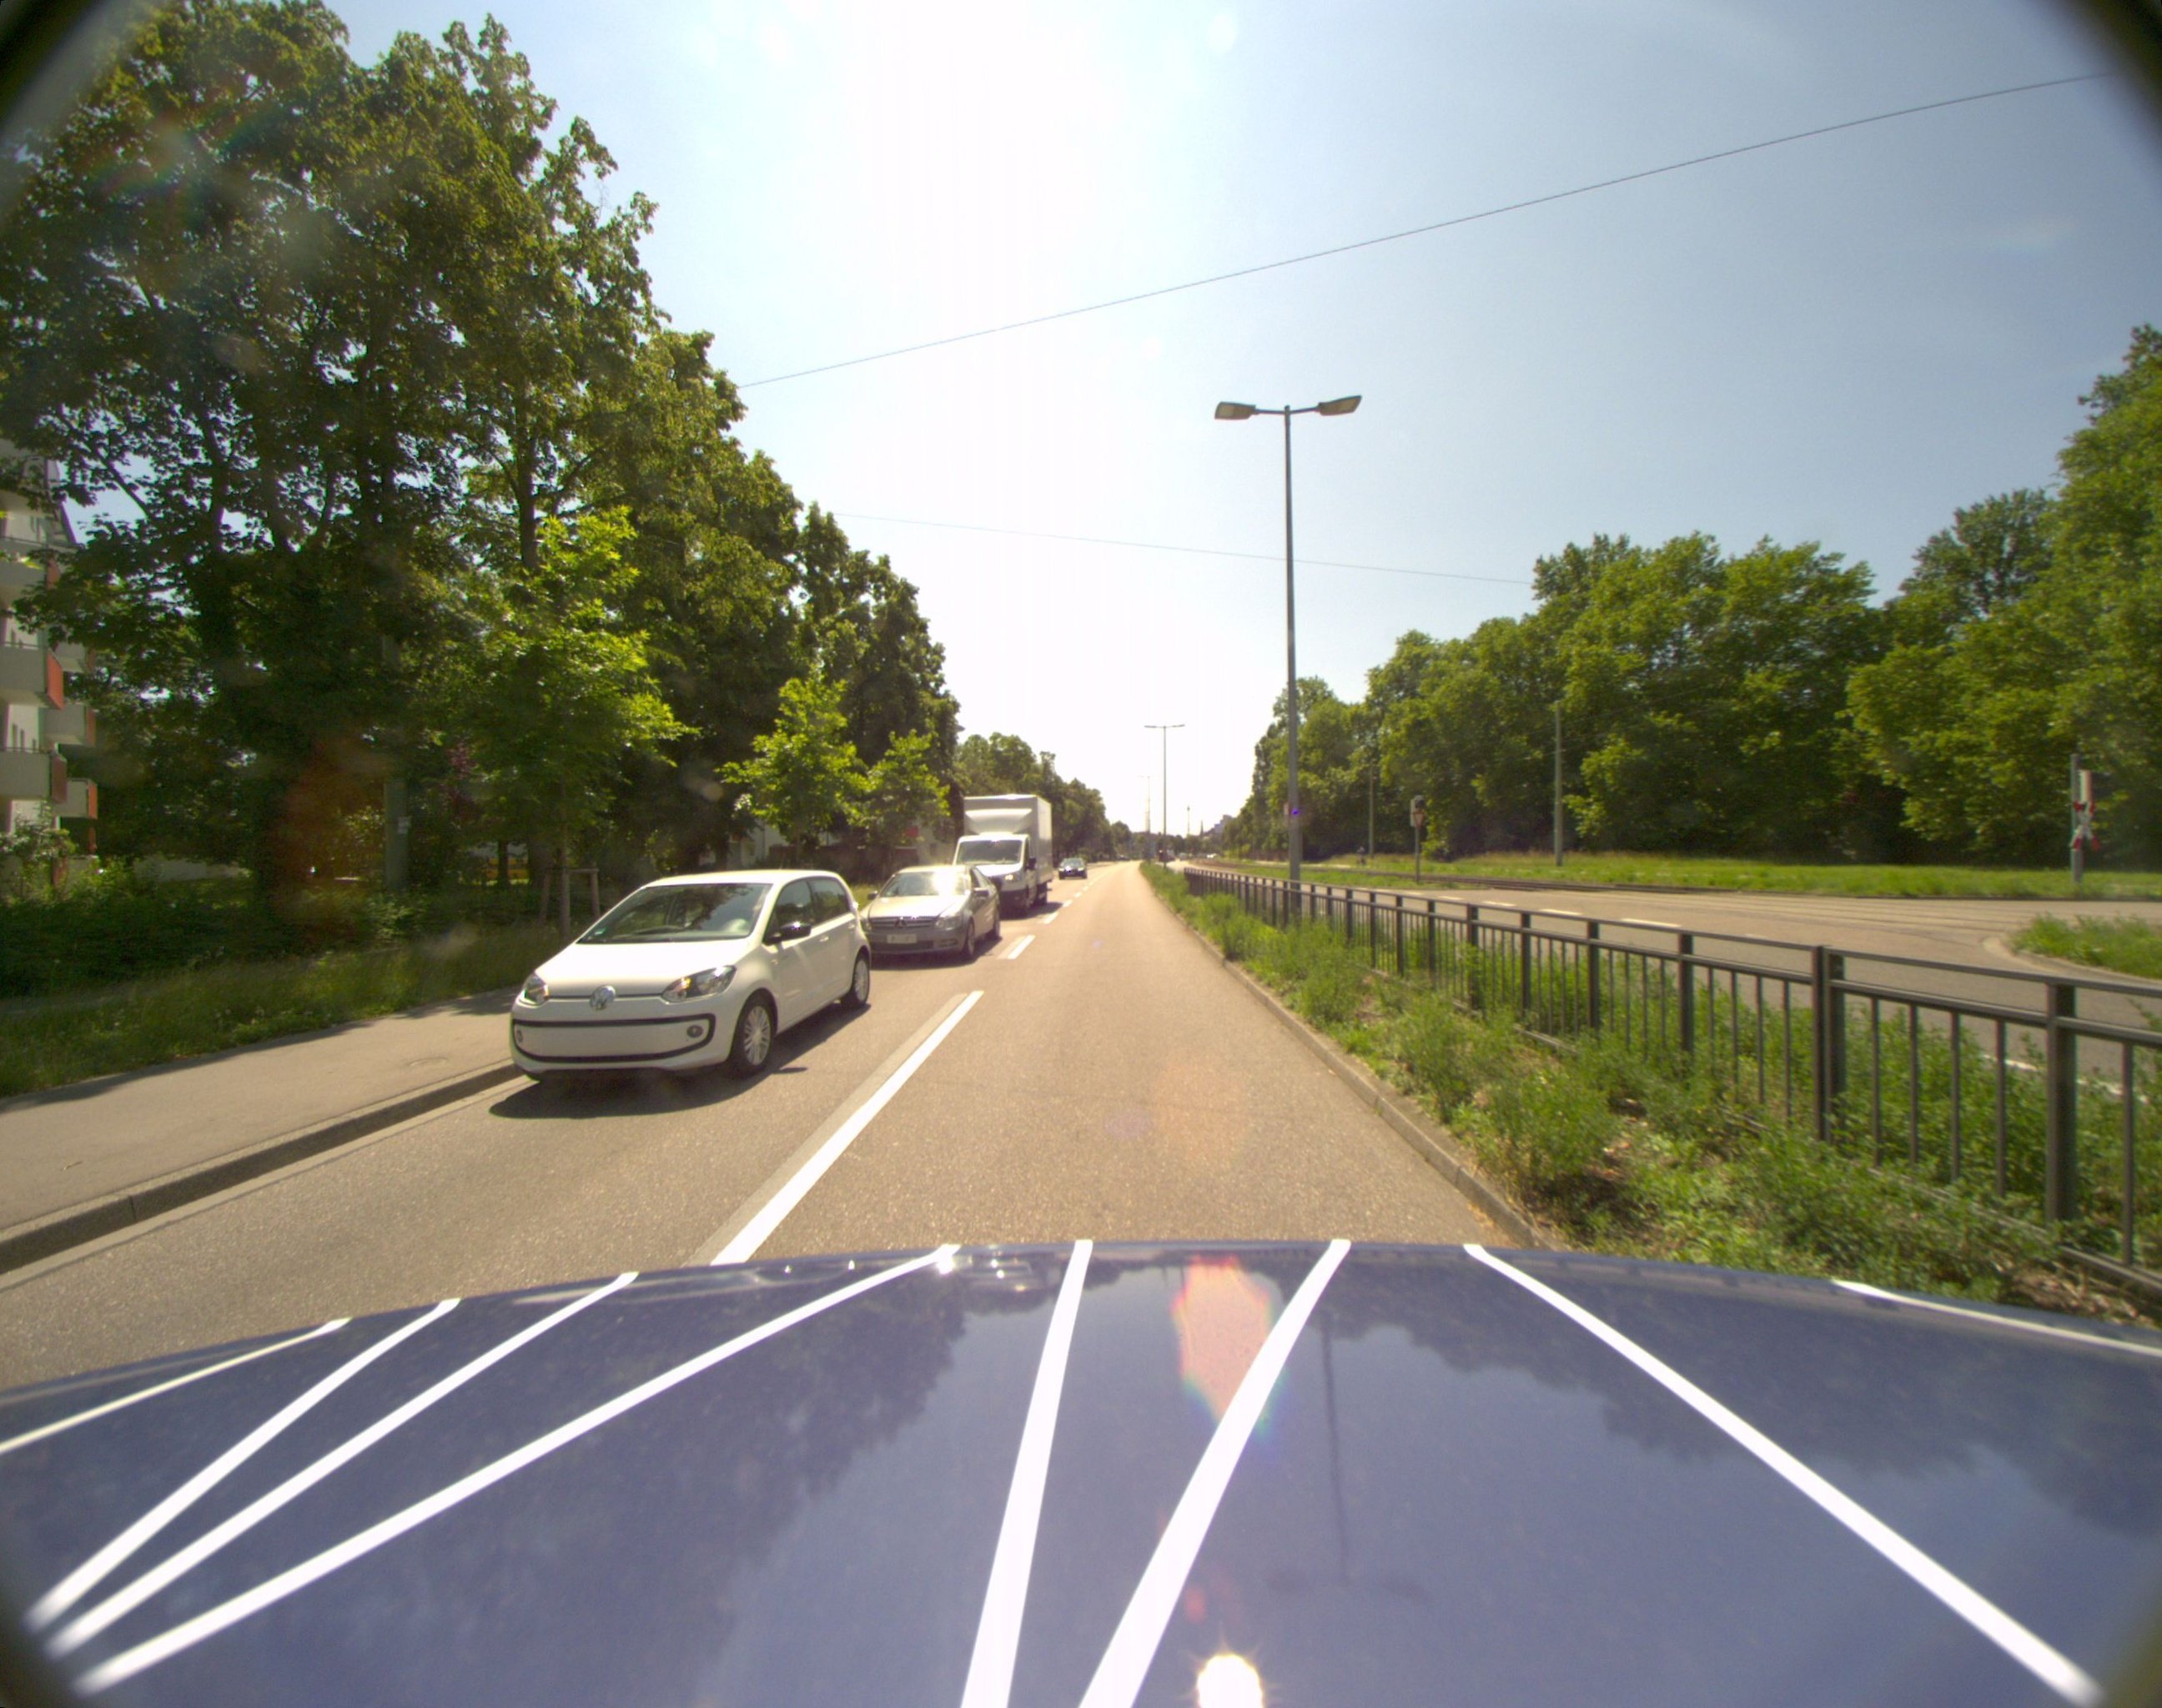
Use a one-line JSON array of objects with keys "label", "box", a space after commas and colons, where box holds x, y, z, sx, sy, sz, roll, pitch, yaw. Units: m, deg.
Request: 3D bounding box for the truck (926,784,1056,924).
[{"label": "truck", "box": [-2.297, -0.009, 22.281, 2.433, 3.326, 7.923, -1, 0, 3]}]

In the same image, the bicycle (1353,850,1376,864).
[{"label": "bicycle", "box": [23.966, 0.239, 64.282, 0.862, 1.155, 2.787, -1, 0, 1]}]

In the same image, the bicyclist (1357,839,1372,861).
[{"label": "bicyclist", "box": [23.955, -0.315, 64.240, 0.862, 1.796, 1.118, -1, 1, 1]}]

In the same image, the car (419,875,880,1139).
[{"label": "car", "box": [-3.126, 0.986, 6.509, 1.730, 1.470, 3.771, -1, 0, 1]}]

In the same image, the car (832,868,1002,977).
[{"label": "car", "box": [-2.474, 0.984, 12.530, 1.840, 1.400, 4.087, -1, 0, 1]}]

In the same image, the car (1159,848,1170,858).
[{"label": "car", "box": [16.771, -0.178, 152.673, 1.997, 1.847, 4.002, -1, 0, 7]}]

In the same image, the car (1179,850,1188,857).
[{"label": "car", "box": [27.007, -0.139, 200.369, 1.998, 1.847, 4.001, -1, 0, 5]}]

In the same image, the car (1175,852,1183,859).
[{"label": "car", "box": [26.778, 0.313, 207.429, 1.998, 1.847, 4.001, -1, 0, 5]}]

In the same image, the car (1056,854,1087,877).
[{"label": "car", "box": [-0.617, 0.797, 52.954, 1.998, 1.499, 4.000, -1, 0, 1]}]
